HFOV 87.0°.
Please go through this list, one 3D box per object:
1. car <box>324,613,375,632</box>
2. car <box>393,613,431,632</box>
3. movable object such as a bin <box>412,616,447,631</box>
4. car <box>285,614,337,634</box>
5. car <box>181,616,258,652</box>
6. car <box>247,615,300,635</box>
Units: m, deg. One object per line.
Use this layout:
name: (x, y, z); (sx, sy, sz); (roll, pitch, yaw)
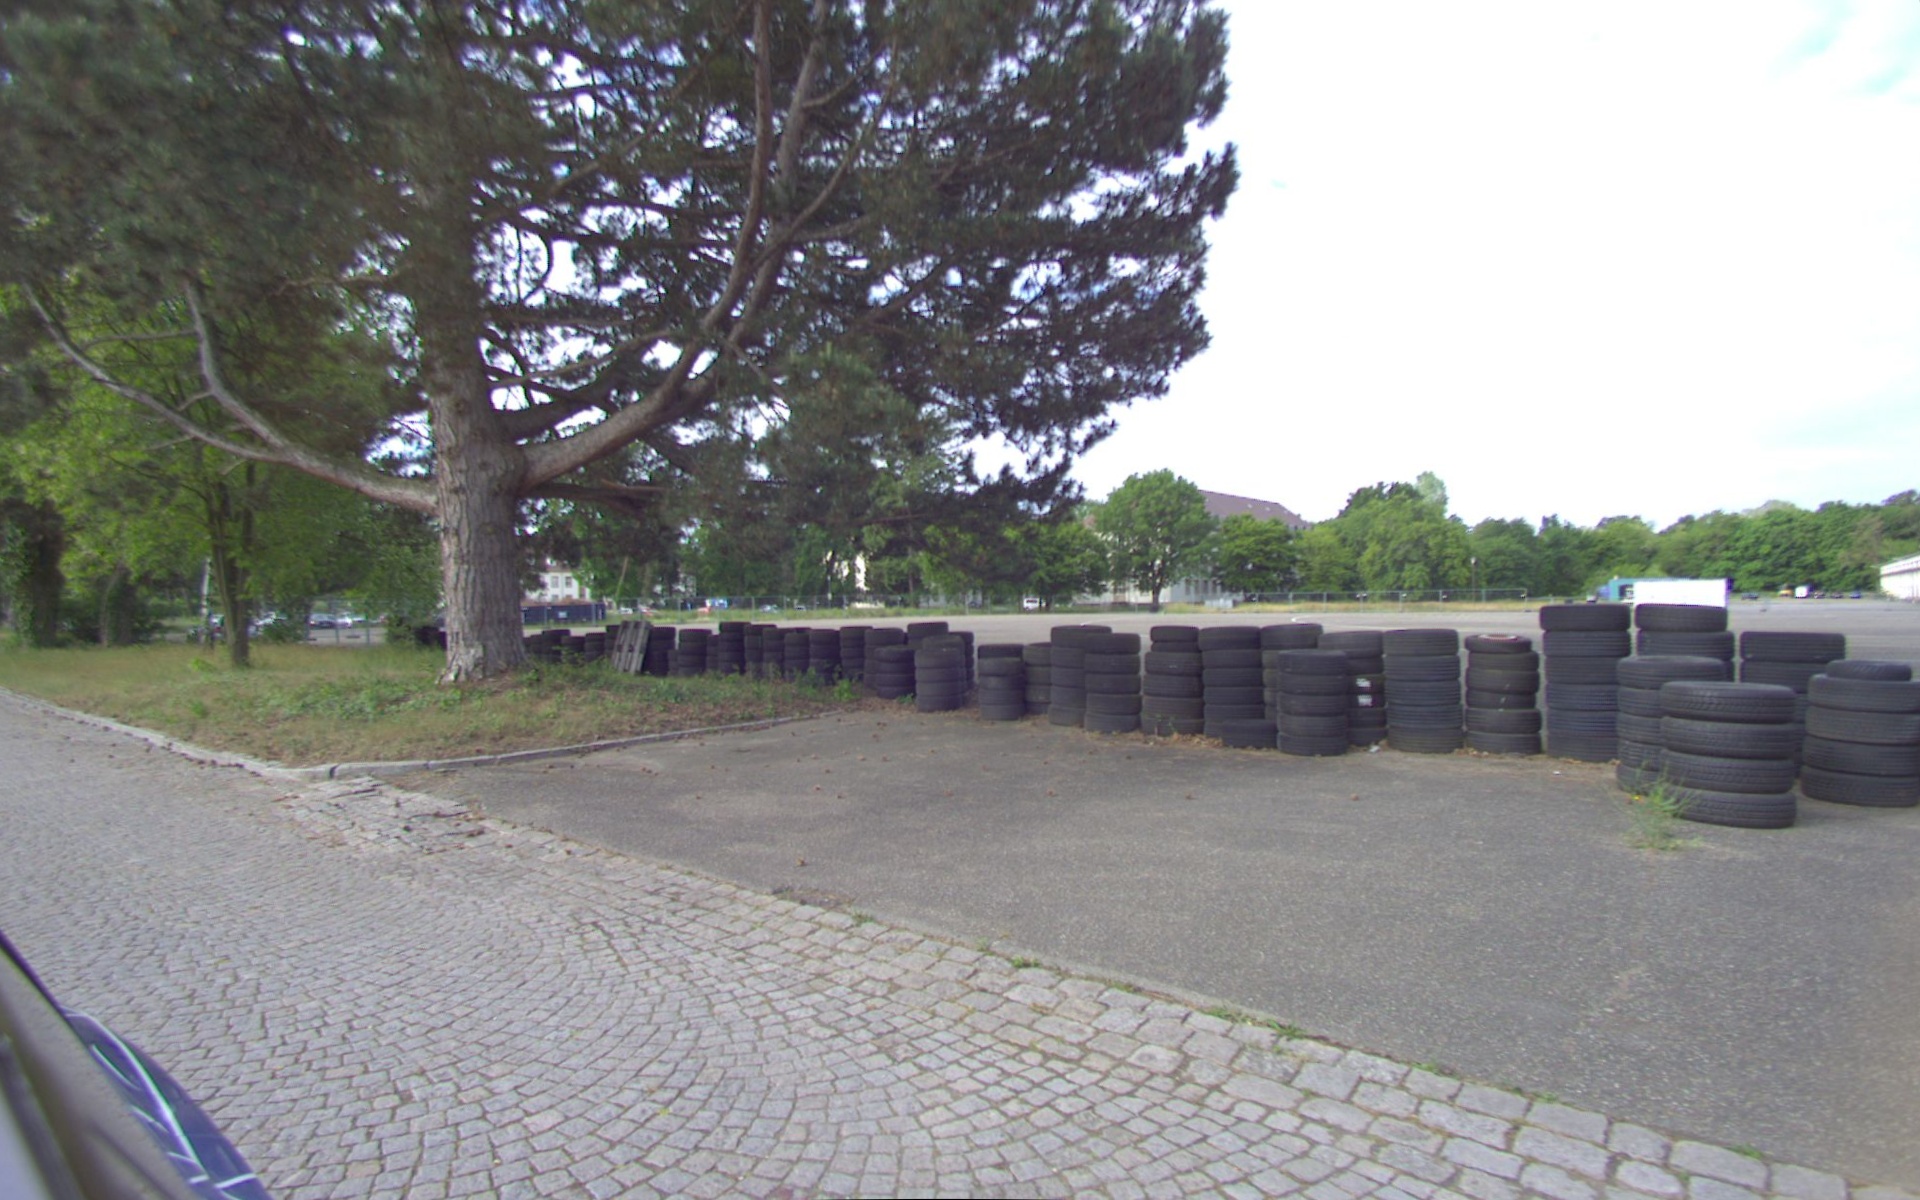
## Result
car: (-48.955, 1.809, 81.091); (4.445, 1.460, 1.975); (-1, 0, 37)
car: (-51.081, 2.110, 94.376); (3.796, 1.696, 1.593); (-1, 0, 35)
movable object such as a bin: (-38.575, 1.713, 73.560); (2.712, 1.079, 1.046); (-1, 0, 32)
car: (-50.372, 1.847, 78.559); (4.445, 1.460, 1.975); (-1, 0, 37)
car: (-30.950, 1.401, 42.298); (3.718, 1.421, 1.650); (-1, 0, 38)
car: (-51.926, 1.883, 76.533); (4.445, 1.460, 1.975); (-1, 0, 37)
